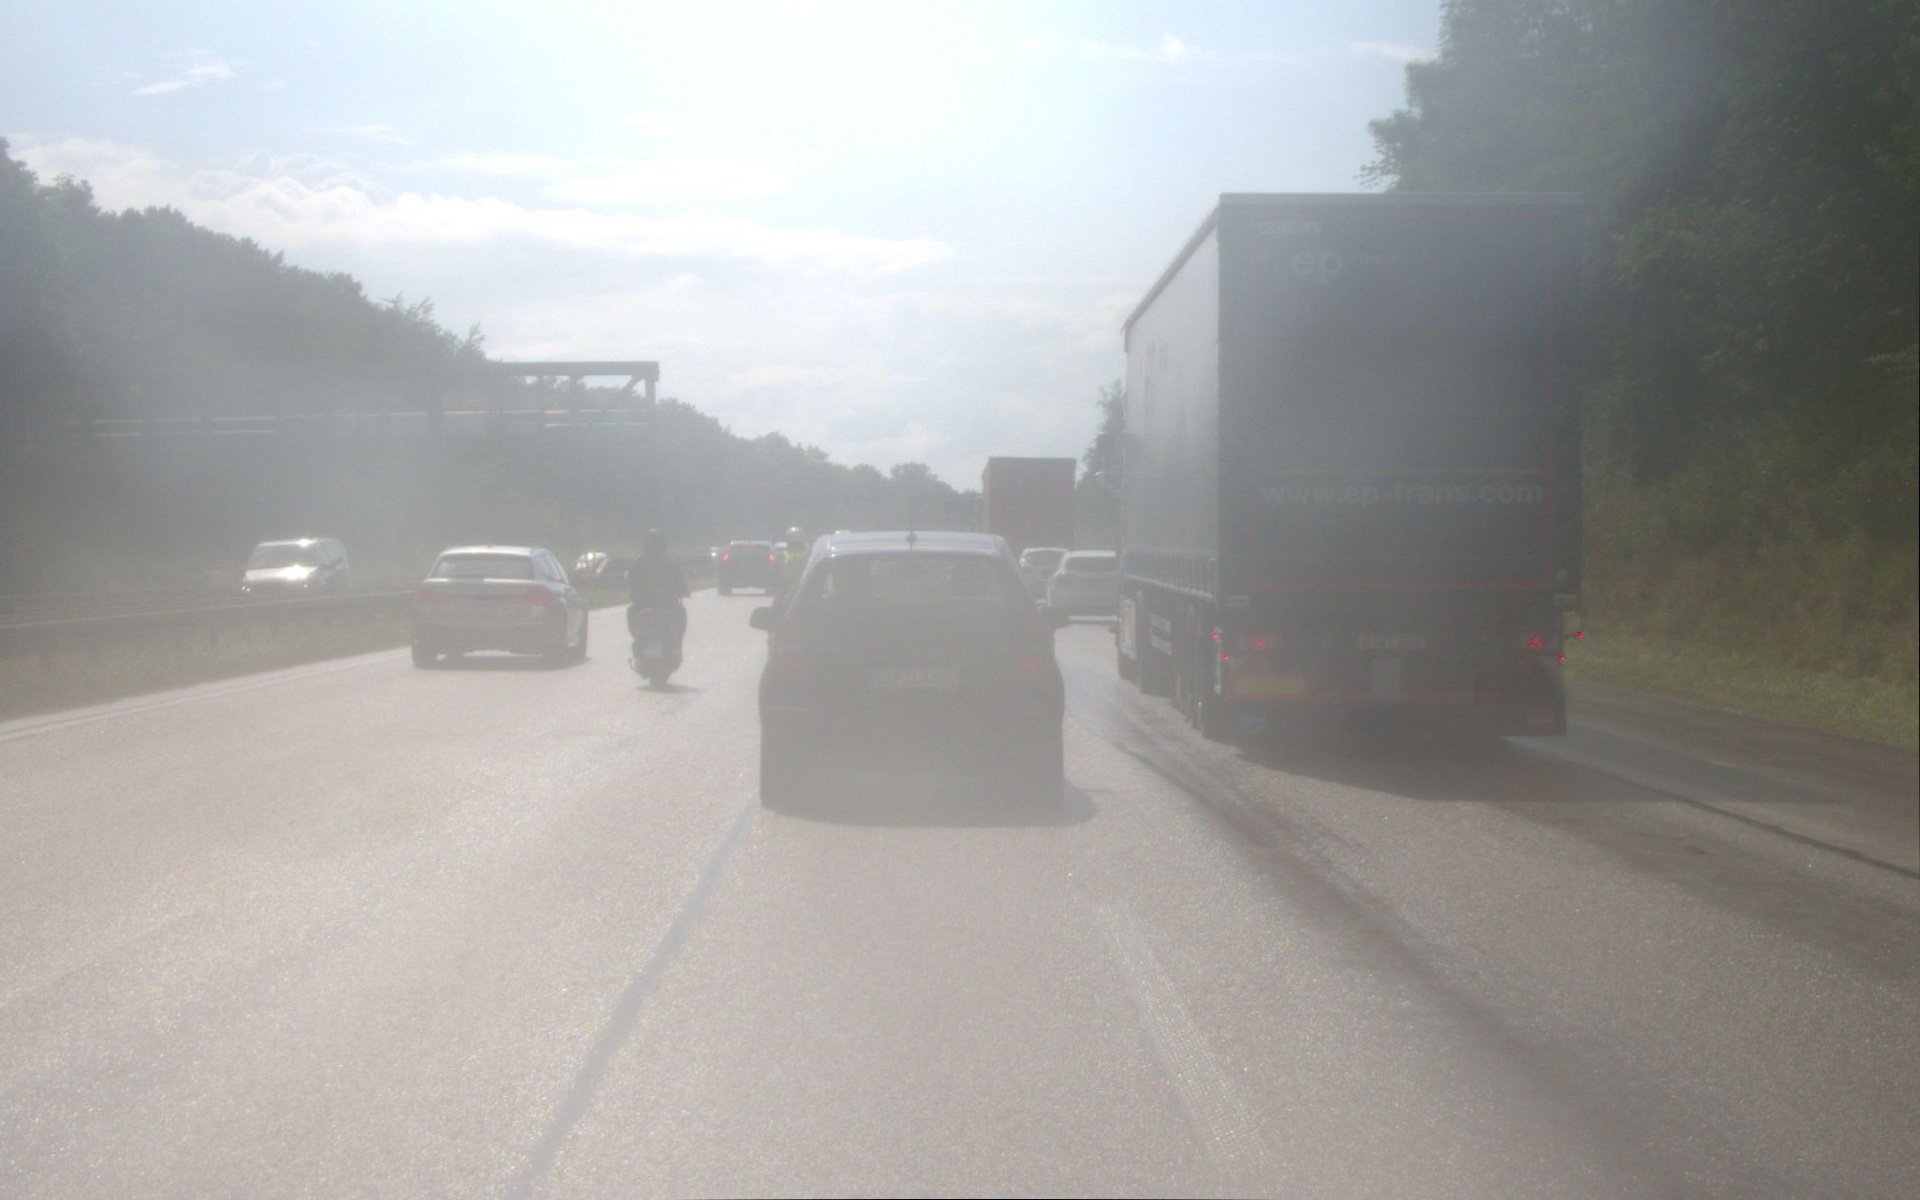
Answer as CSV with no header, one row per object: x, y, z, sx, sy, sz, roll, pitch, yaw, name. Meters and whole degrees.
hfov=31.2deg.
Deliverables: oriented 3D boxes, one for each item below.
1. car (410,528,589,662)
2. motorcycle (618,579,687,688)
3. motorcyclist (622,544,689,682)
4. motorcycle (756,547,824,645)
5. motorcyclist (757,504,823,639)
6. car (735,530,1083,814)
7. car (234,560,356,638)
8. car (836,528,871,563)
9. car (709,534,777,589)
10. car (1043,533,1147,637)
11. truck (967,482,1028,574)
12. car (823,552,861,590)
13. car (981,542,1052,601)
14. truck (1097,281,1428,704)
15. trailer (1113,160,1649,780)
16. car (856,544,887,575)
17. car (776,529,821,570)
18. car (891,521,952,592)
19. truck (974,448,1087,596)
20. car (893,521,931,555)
-5.743,-0.107,43.265,1.758,1.589,4.331,0,1,-1,car
-3.228,0.341,36.195,0.676,1.083,1.982,1,1,-4,motorcycle
-3.209,0.132,36.269,0.670,1.437,1.020,1,0,-4,motorcyclist
-2.236,-0.065,45.445,0.819,1.258,2.118,1,1,-1,motorcycle
-2.235,-0.376,45.411,0.821,1.754,1.390,1,0,-1,motorcyclist
-0.328,0.366,21.135,1.915,1.560,4.314,0,1,-1,car
-15.425,-0.051,79.972,1.908,1.673,4.969,-1,1,-1,car
-6.300,-3.223,203.824,1.993,2.007,4.000,1,1,-1,car
-6.557,-1.187,104.344,1.893,1.622,4.195,0,1,-1,car
2.662,-0.311,68.525,1.849,2.007,4.087,1,1,0,car
1.923,-3.775,183.401,2.882,4.671,12.659,1,1,-1,truck
-6.401,-1.595,187.137,1.993,2.007,4.000,1,1,-1,car
1.434,-0.747,88.242,1.675,1.485,3.437,0,1,-1,car
3.226,-1.136,38.273,3.052,4.310,5.886,1,1,-1,truck
3.244,-1.016,30.974,3.088,4.298,14.105,0,1,0,trailer
-5.800,-2.635,225.345,1.993,2.007,4.000,1,1,-1,car
-6.321,-1.974,134.638,1.675,1.591,3.437,0,1,-1,car
-1.097,-1.232,96.491,1.675,1.929,3.774,0,1,-1,car
2.110,-2.379,106.542,3.202,4.389,9.433,0,1,0,truck
-2.132,-2.752,152.651,1.631,1.485,3.437,0,1,-1,car
